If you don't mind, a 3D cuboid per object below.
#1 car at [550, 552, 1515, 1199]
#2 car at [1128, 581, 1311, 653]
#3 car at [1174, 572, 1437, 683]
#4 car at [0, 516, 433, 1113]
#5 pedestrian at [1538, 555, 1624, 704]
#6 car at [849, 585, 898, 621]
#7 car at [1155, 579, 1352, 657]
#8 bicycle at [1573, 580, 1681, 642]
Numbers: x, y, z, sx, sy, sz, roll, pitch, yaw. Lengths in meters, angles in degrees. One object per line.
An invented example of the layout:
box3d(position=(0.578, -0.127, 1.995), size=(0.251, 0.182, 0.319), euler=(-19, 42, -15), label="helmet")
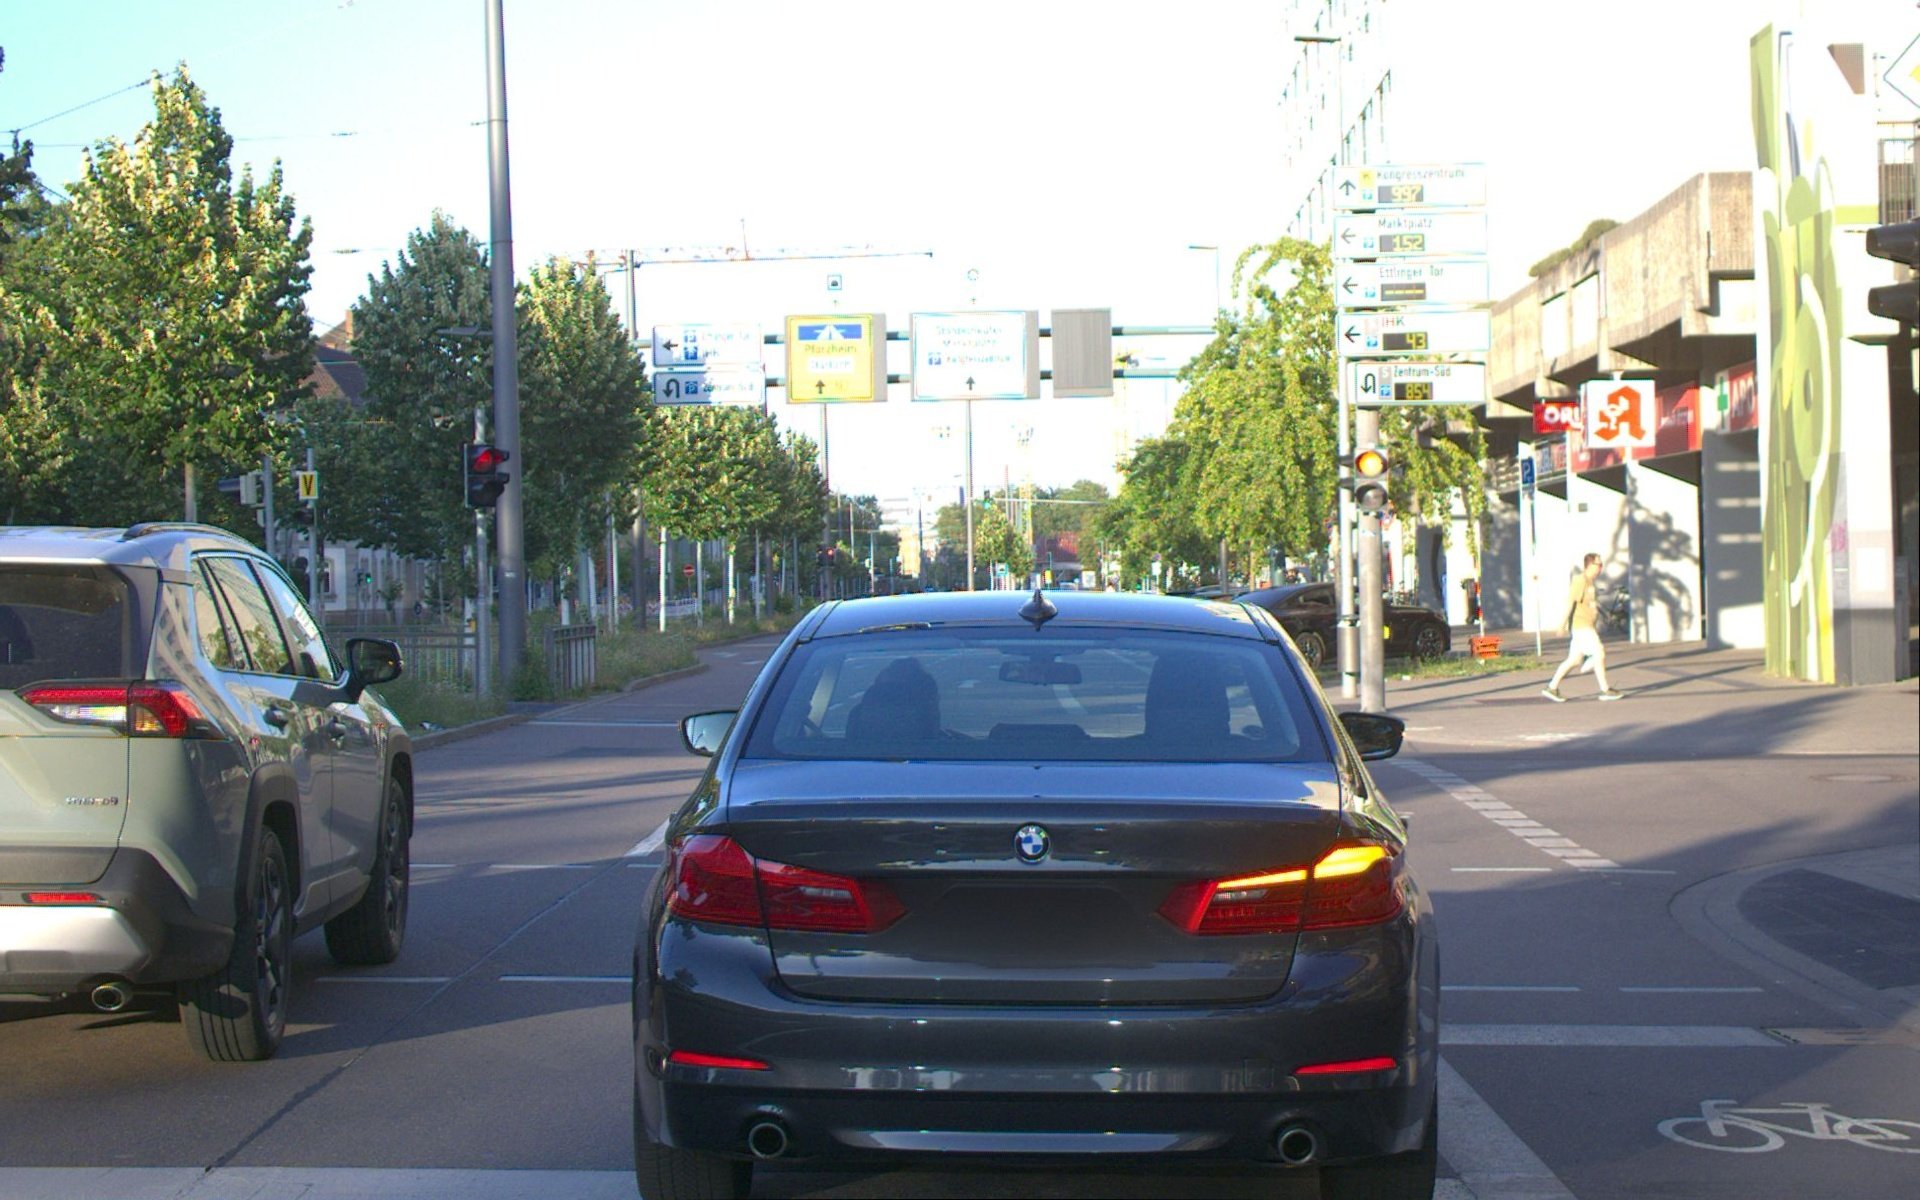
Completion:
box3d(position=(0.135, 0.638, 9.168), size=(1.932, 1.476, 4.523), euler=(0, 1, 0), label="car")
box3d(position=(6.353, 0.383, 84.027), size=(4.255, 1.653, 1.860), euler=(-1, 2, -35), label="car")
box3d(position=(5.604, 0.406, 55.443), size=(4.256, 1.653, 1.860), euler=(-1, 2, -43), label="car")
box3d(position=(-3.030, 0.544, 11.675), size=(1.854, 1.653, 4.269), euler=(0, 1, 0), label="car")
box3d(position=(7.243, 0.337, 40.138), size=(0.835, 1.706, 0.648), euler=(-1, 0, -1), label="pedestrian")
box3d(position=(-3.649, 0.115, 145.831), size=(1.979, 1.428, 4.843), euler=(0, 1, 0), label="car")
box3d(position=(6.654, 0.383, 77.811), size=(4.255, 1.653, 1.860), euler=(-1, 2, -36), label="car")
box3d(position=(13.162, 0.215, 67.888), size=(2.017, 1.145, 0.690), euler=(2, -1, 6), label="bicycle")
